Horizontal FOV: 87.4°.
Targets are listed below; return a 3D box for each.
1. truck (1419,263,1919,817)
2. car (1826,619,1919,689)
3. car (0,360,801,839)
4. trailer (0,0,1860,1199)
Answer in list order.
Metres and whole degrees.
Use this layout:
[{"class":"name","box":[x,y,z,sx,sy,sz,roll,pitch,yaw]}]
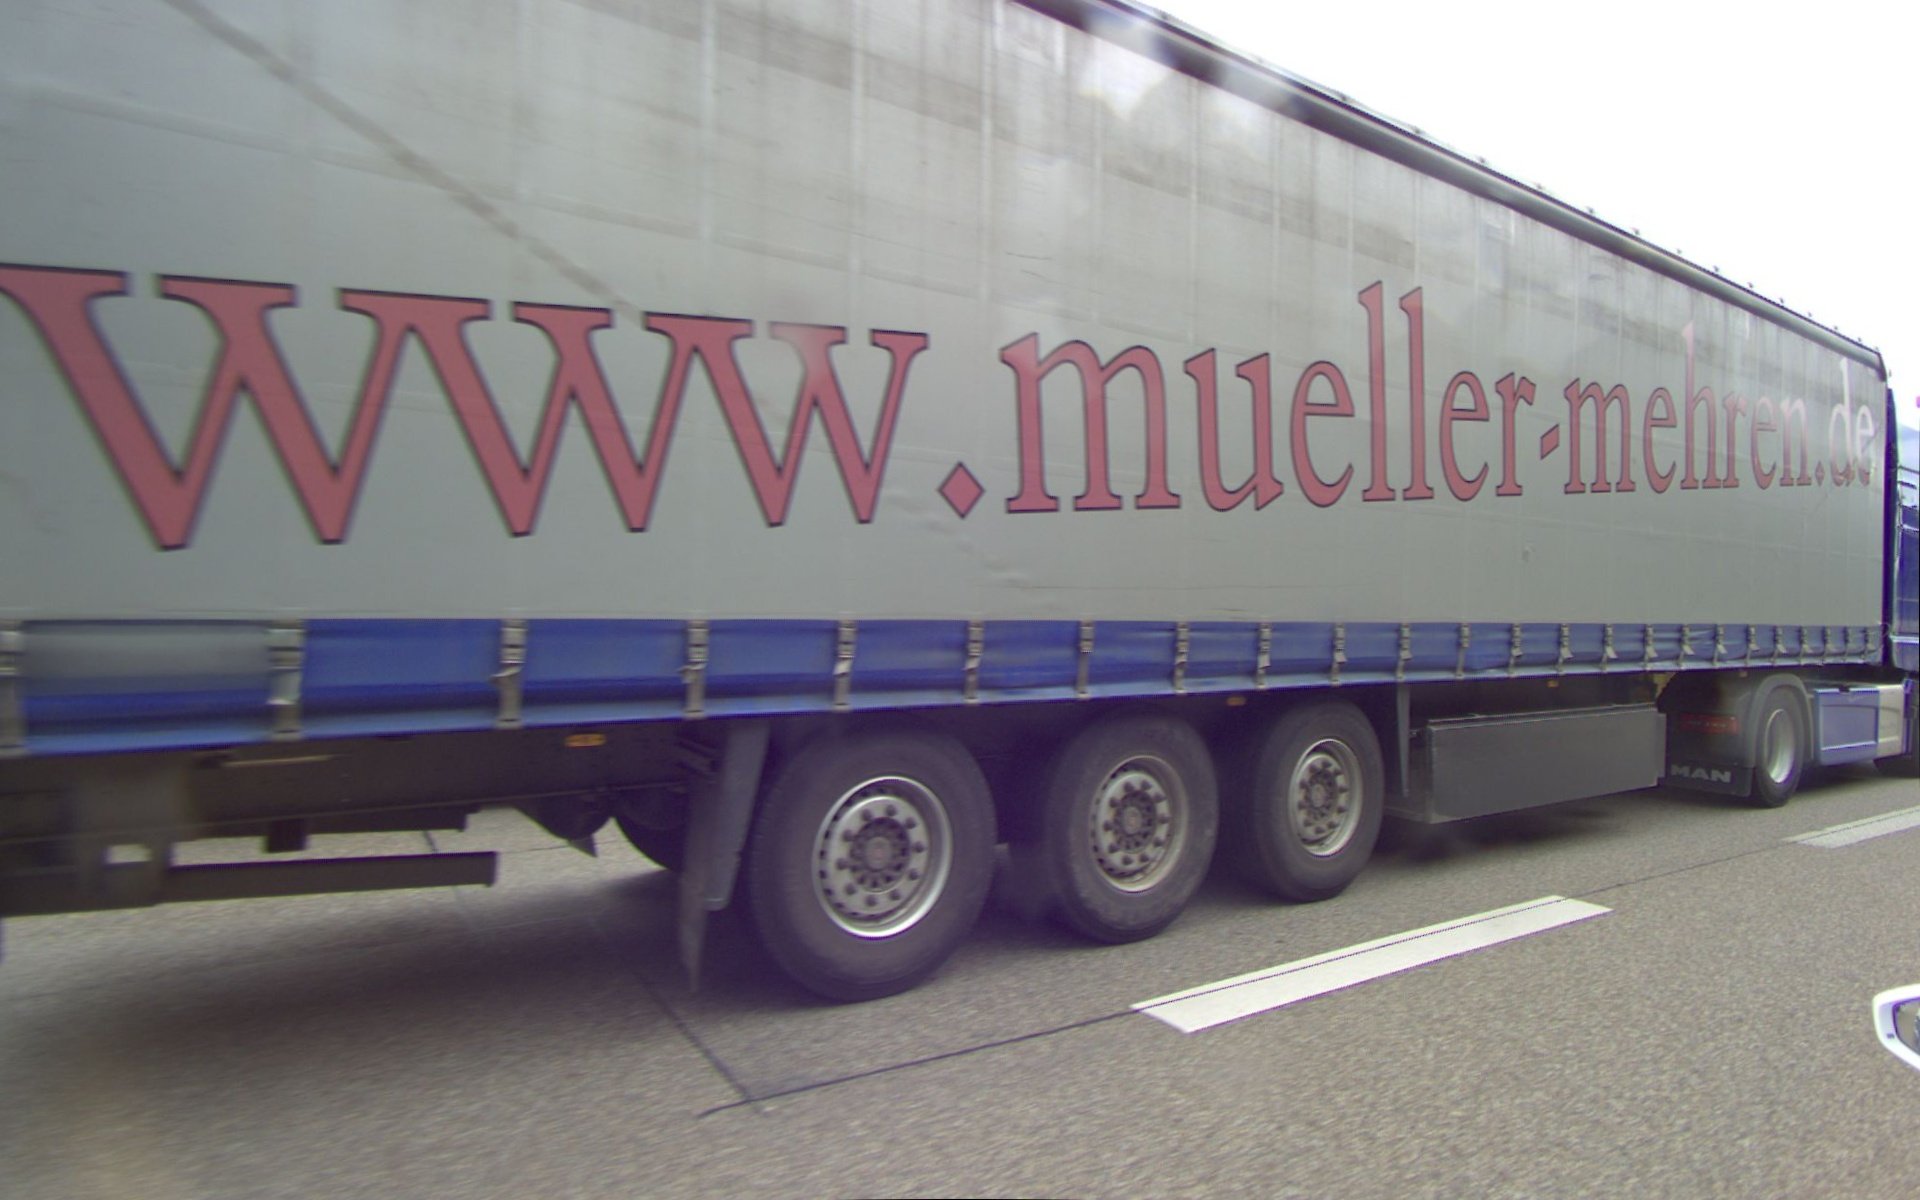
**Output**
[{"class":"truck","box":[7.871,-0.358,10.242,6.515,4.096,2.547,2,0,-32]},{"class":"car","box":[24.043,1.318,25.303,4.593,1.634,1.853,1,-1,-28]},{"class":"car","box":[-4.708,0.031,7.167,6.726,2.612,2.209,2,0,-33]},{"class":"trailer","box":[1.262,-0.509,6.059,13.315,4.076,2.612,2,0,-32]}]
